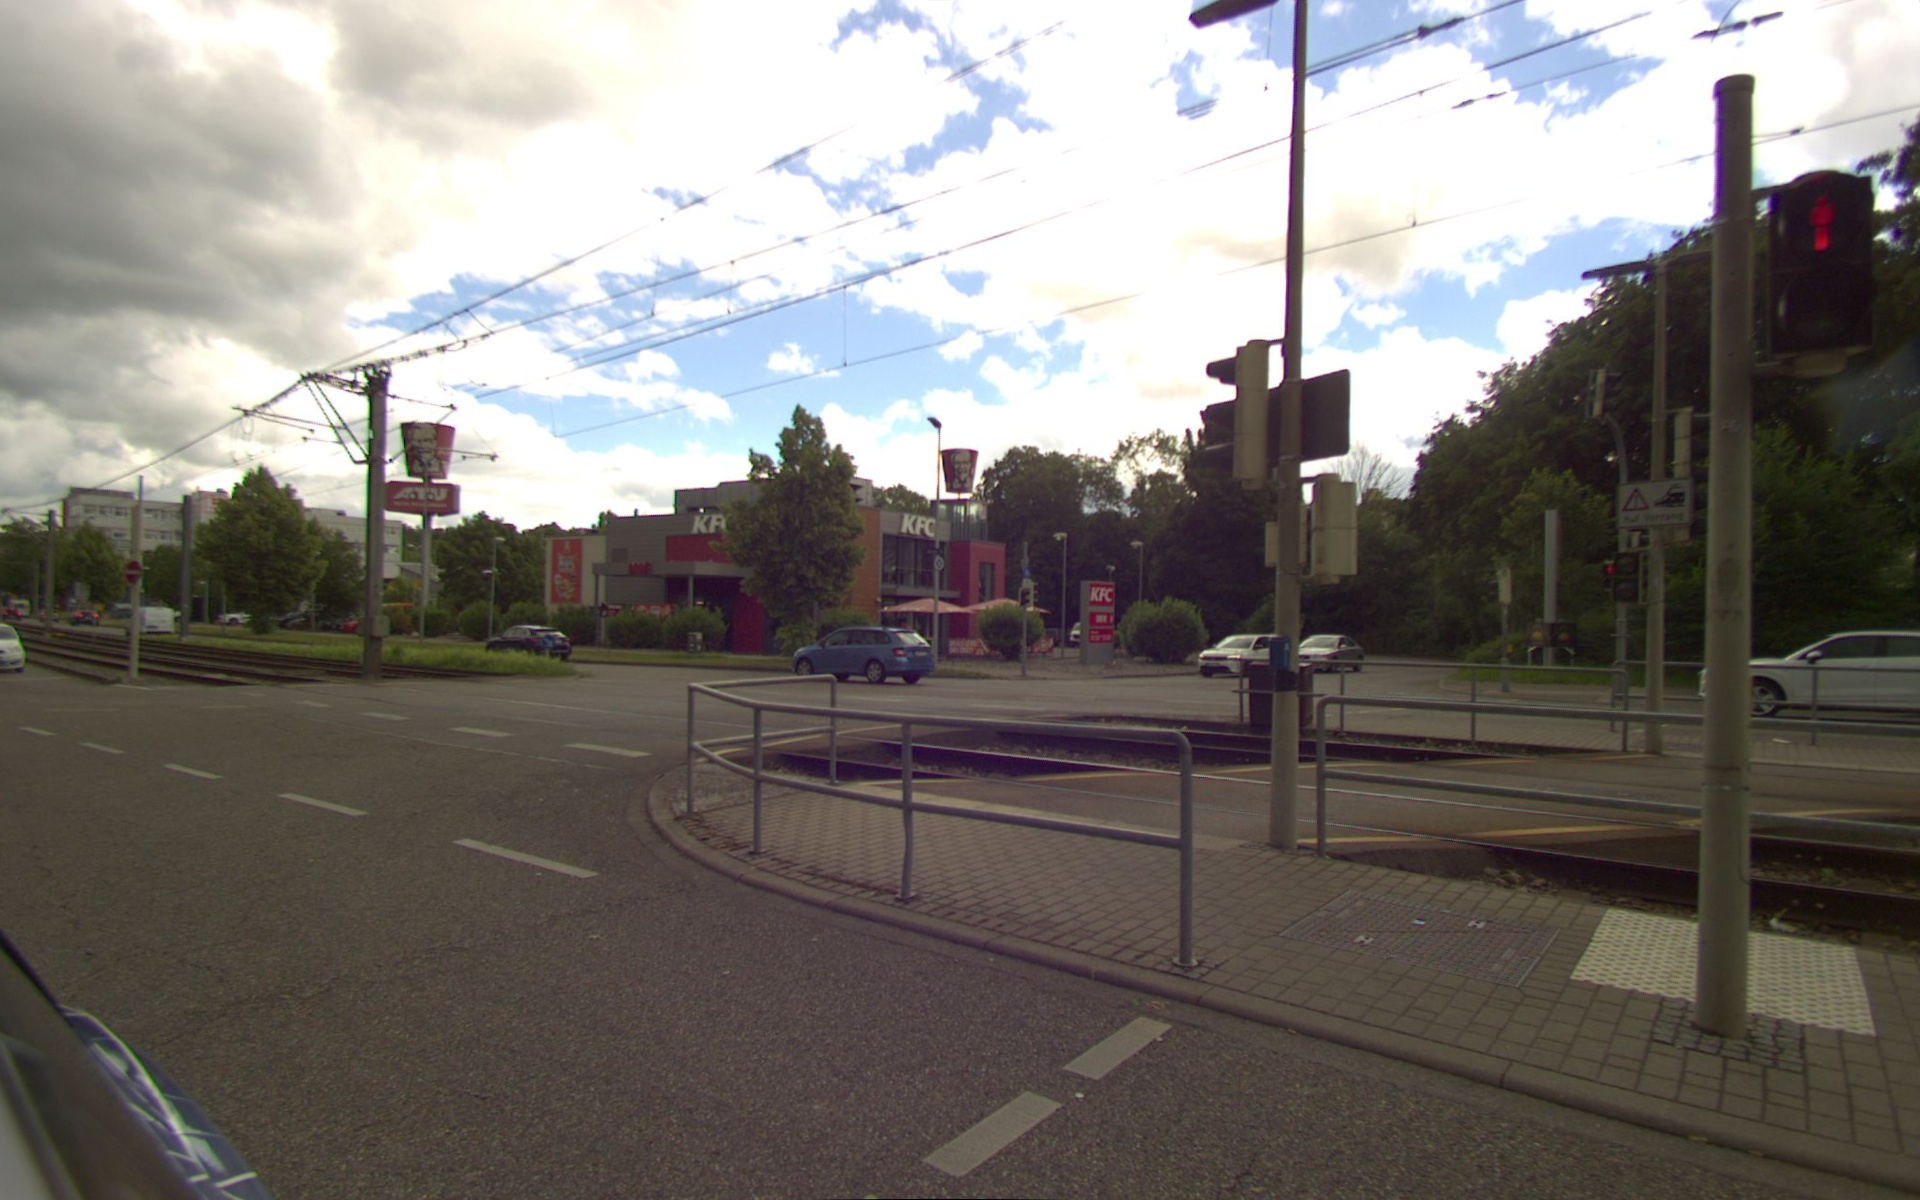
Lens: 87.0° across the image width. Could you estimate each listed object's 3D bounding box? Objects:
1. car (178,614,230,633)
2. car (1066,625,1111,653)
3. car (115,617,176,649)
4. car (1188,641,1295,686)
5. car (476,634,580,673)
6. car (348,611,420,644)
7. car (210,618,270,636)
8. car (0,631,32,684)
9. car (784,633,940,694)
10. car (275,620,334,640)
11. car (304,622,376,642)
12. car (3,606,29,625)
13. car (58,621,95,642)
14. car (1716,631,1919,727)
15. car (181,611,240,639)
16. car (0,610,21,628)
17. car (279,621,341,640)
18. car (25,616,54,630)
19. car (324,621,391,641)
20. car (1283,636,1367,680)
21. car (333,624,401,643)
[{"bbox_3d":[-83.296,2.553,111.512,2.001,1.933,4.296,-1,1,45],"label":"car"},{"bbox_3d":[9.607,2.890,75.676,1.992,2.029,3.959,-1,-2,30],"label":"car"},{"bbox_3d":[-54.793,2.200,68.070,4.876,2.029,1.976,-1,-2,36],"label":"car"},{"bbox_3d":[9.680,2.135,34.668,3.832,1.419,1.849,2,-2,-43],"label":"car"},{"bbox_3d":[-17.873,2.208,41.821,4.500,1.493,1.974,-2,-5,38],"label":"car"},{"bbox_3d":[-40.660,1.916,71.441,2.058,2.182,3.946,-1,1,41],"label":"car"},{"bbox_3d":[-69.936,2.607,98.296,1.793,1.518,4.427,-1,1,38],"label":"car"},{"bbox_3d":[-29.485,1.738,30.448,3.997,1.455,1.764,-1,1,40],"label":"car"},{"bbox_3d":[-2.613,1.626,26.619,4.045,1.457,1.581,0,-3,36],"label":"car"},{"bbox_3d":[-56.604,2.577,87.422,1.936,1.518,3.946,-1,1,41],"label":"car"},{"bbox_3d":[-48.250,2.475,78.750,2.195,1.364,4.328,-1,1,41],"label":"car"},{"bbox_3d":[-132.356,2.194,141.863,5.996,2.518,1.849,-1,-3,41],"label":"car"},{"bbox_3d":[-88.129,3.174,100.979,4.241,2.029,1.975,-1,-2,38],"label":"car"},{"bbox_3d":[14.997,1.294,16.705,3.995,1.457,1.669,-1,-4,38],"label":"car"},{"bbox_3d":[-77.092,2.561,104.102,2.288,2.769,4.423,0,-3,41],"label":"car"},{"bbox_3d":[-113.766,2.252,120.665,3.994,2.029,1.975,-1,-4,38],"label":"car"},{"bbox_3d":[-53.766,2.519,83.749,1.936,1.432,3.946,-1,1,41],"label":"car"},{"bbox_3d":[-109.435,2.745,120.293,3.998,1.494,1.973,-1,-4,41],"label":"car"},{"bbox_3d":[-45.963,2.338,77.265,2.093,1.377,3.946,-1,1,41],"label":"car"},{"bbox_3d":[13.942,2.157,38.539,1.845,1.564,3.947,-1,-2,39],"label":"car"},{"bbox_3d":[-44.140,2.468,75.382,1.999,1.245,3.946,-1,1,41],"label":"car"}]
